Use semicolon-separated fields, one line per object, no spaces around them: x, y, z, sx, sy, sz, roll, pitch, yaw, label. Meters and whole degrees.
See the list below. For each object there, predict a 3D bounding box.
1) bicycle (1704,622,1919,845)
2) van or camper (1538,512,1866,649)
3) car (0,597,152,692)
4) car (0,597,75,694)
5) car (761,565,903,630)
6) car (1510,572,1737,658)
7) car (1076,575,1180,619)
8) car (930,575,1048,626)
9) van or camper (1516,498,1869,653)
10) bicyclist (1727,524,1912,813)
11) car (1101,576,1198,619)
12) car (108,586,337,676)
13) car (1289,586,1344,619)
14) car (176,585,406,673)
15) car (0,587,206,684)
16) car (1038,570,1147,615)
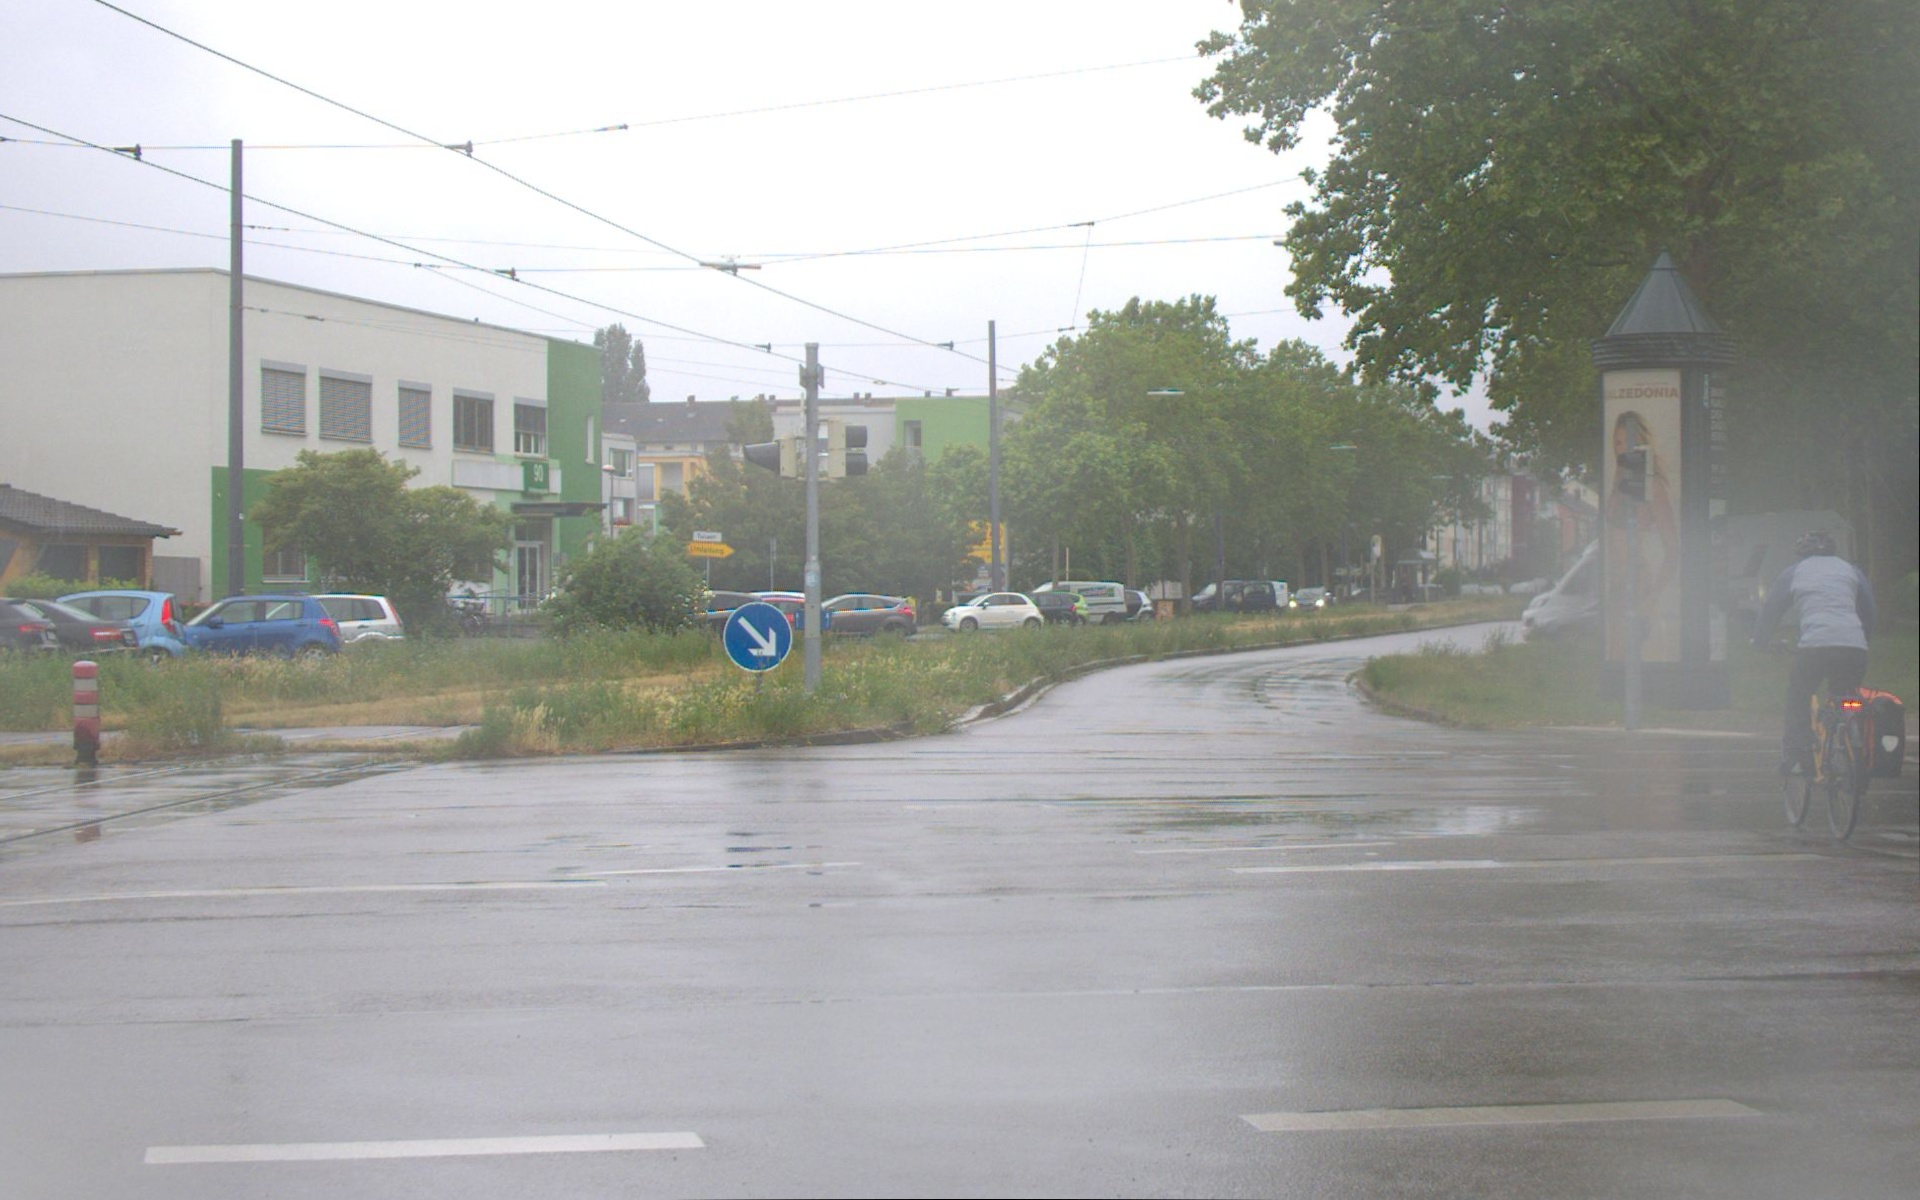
4.599;0.679;18.245;0.690;1.113;1.885;1;0;-7;bicycle
18.105;-0.474;83.804;7.433;3.167;3.259;1;0;19;van or camper
-15.133;0.715;53.936;4.496;1.413;1.859;-2;0;-2;car
-15.732;0.731;51.491;4.477;1.413;1.859;-2;0;-2;car
-3.853;-0.070;103.345;3.986;1.881;2.000;1;0;-10;car
13.893;0.307;71.966;4.448;1.711;1.998;1;0;17;car
7.220;-0.145;147.948;3.986;1.826;2.001;1;0;-15;car
1.013;0.017;120.435;3.773;1.697;1.837;1;0;-13;car
15.986;-0.537;74.940;7.327;3.167;3.260;1;0;14;van or camper
4.585;0.362;18.380;0.690;1.501;0.844;1;-1;-7;bicyclist
8.430;-0.130;153.102;3.986;1.826;2.000;1;0;-8;car
-13.403;0.550;62.439;3.986;1.576;1.930;0;0;-15;car
18.201;0.122;175.334;1.892;1.656;3.996;1;0;20;car
-12.783;0.530;65.639;4.107;1.635;1.930;0;0;-17;car
-14.788;0.578;57.344;3.987;1.576;1.858;0;0;1;car
5.345;-0.294;138.809;3.986;1.753;2.011;1;0;-15;car
